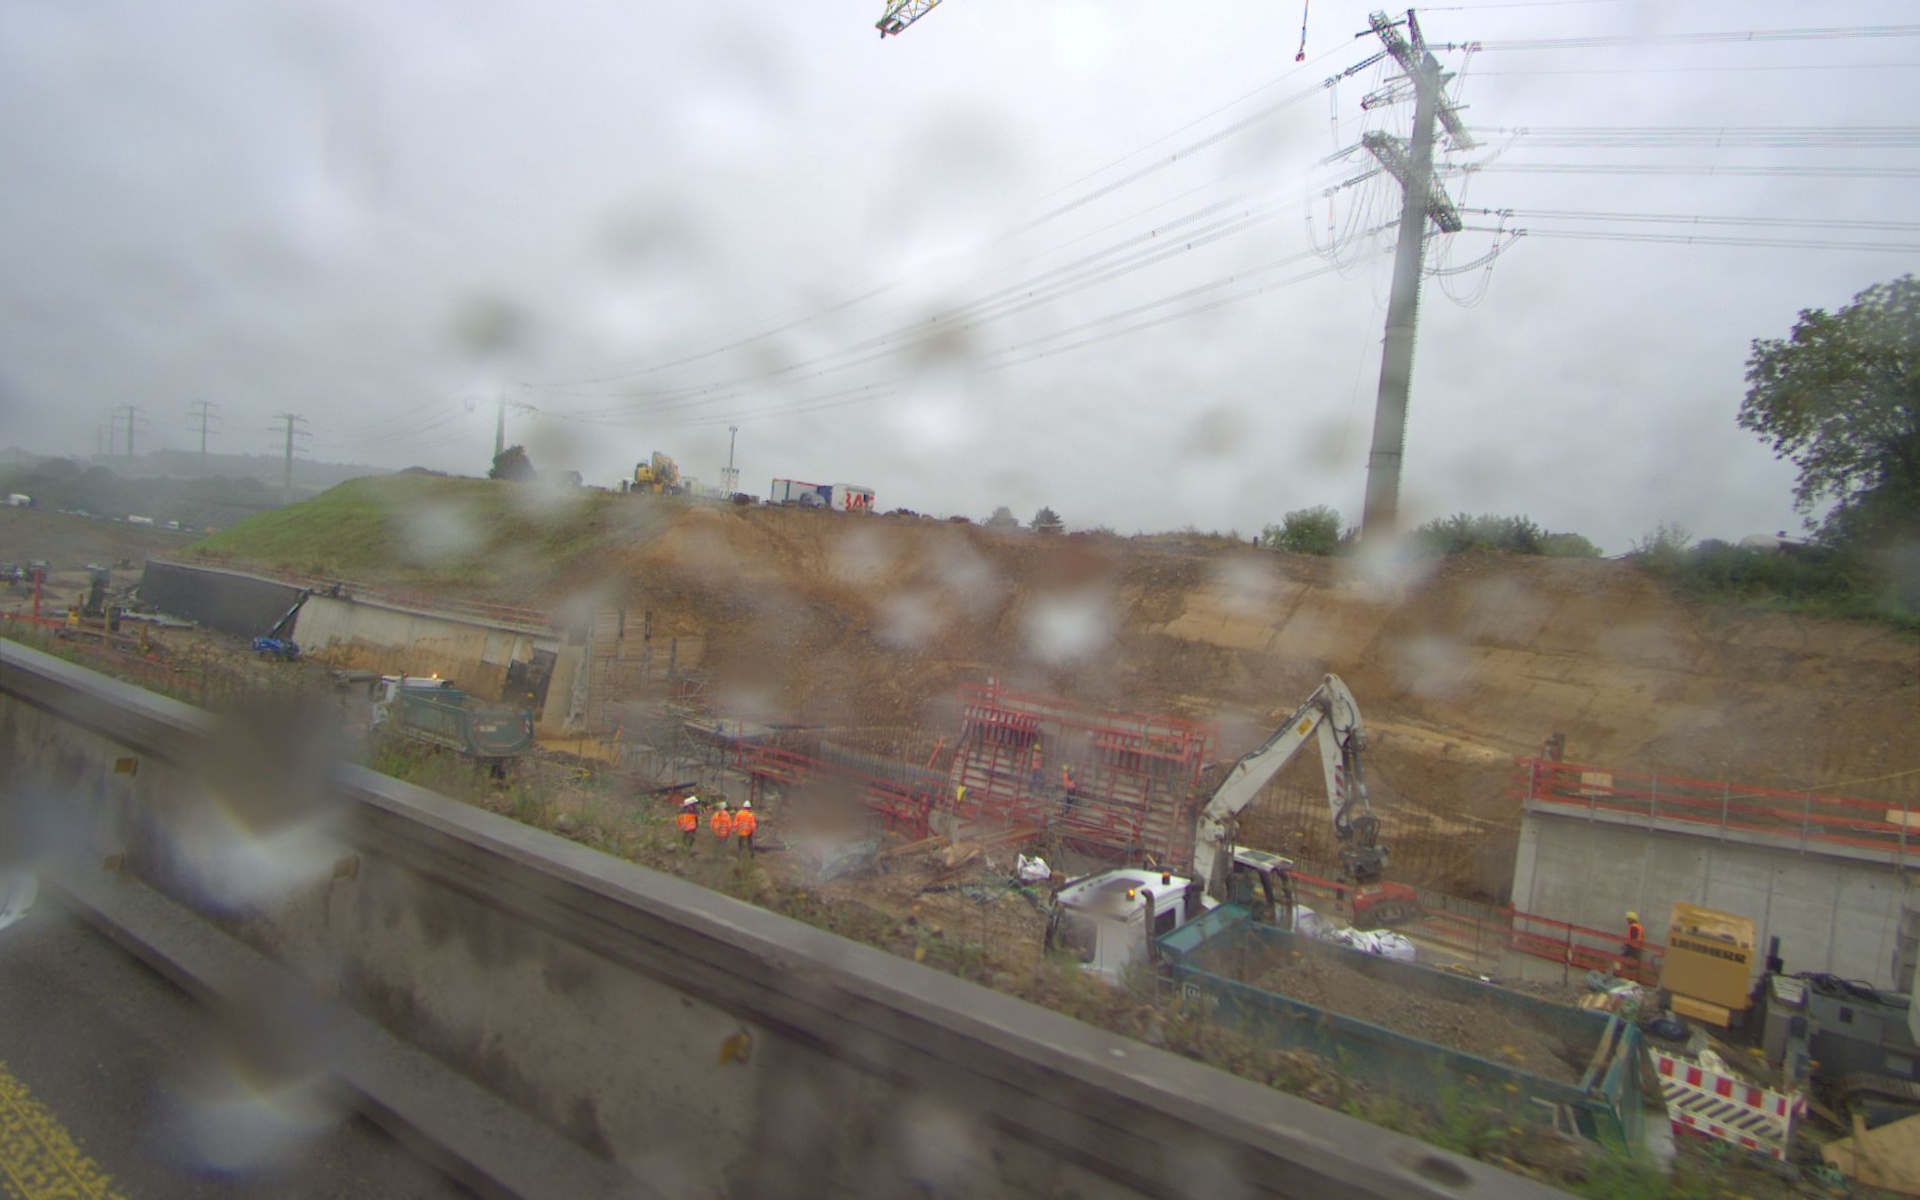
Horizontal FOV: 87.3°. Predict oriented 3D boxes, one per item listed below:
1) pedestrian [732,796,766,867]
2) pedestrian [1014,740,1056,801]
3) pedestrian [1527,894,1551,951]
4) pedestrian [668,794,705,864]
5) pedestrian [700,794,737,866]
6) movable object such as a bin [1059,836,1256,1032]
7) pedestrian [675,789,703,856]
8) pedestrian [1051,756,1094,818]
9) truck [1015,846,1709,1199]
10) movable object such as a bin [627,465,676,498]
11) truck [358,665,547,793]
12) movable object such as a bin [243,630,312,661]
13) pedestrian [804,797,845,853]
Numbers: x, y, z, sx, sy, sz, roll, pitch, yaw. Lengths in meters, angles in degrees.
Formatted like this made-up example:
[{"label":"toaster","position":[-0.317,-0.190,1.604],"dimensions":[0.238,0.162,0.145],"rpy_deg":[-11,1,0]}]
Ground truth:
[{"label":"pedestrian","position":[-6.344,6.947,30.212],"dimensions":[0.725,1.968,0.573],"rpy_deg":[6,0,-20]},{"label":"pedestrian","position":[2.790,6.325,37.387],"dimensions":[0.885,2.014,0.907],"rpy_deg":[5,-11,37]},{"label":"pedestrian","position":[16.009,8.902,27.809],"dimensions":[0.393,1.446,0.425],"rpy_deg":[6,-9,35]},{"label":"pedestrian","position":[-8.155,6.831,30.017],"dimensions":[0.724,1.892,0.573],"rpy_deg":[6,0,39]},{"label":"pedestrian","position":[-7.205,6.842,30.001],"dimensions":[0.721,1.968,0.575],"rpy_deg":[6,0,4]},{"label":"movable object such as a bin","position":[4.252,6.887,21.375],"dimensions":[2.920,2.771,3.153],"rpy_deg":[6,-1,32]},{"label":"pedestrian","position":[-8.339,6.832,30.943],"dimensions":[0.567,1.892,0.732],"rpy_deg":[6,0,-21]},{"label":"pedestrian","position":[4.062,6.765,36.384],"dimensions":[0.885,2.014,0.907],"rpy_deg":[5,-11,37]},{"label":"truck","position":[5.213,6.535,14.773],"dimensions":[8.827,3.546,2.695],"rpy_deg":[5,-1,43]},{"label":"movable object such as a bin","position":[-28.389,-10.890,92.522],"dimensions":[3.911,2.474,2.427],"rpy_deg":[8,1,40]},{"label":"truck","position":[-20.112,4.869,39.576],"dimensions":[8.928,3.533,2.729],"rpy_deg":[6,-1,37]},{"label":"movable object such as a bin","position":[-52.596,3.545,77.563],"dimensions":[3.772,2.036,2.001],"rpy_deg":[5,-3,-4]},{"label":"pedestrian","position":[-5.484,9.147,40.878],"dimensions":[0.892,2.014,0.900],"rpy_deg":[6,-10,36]}]
